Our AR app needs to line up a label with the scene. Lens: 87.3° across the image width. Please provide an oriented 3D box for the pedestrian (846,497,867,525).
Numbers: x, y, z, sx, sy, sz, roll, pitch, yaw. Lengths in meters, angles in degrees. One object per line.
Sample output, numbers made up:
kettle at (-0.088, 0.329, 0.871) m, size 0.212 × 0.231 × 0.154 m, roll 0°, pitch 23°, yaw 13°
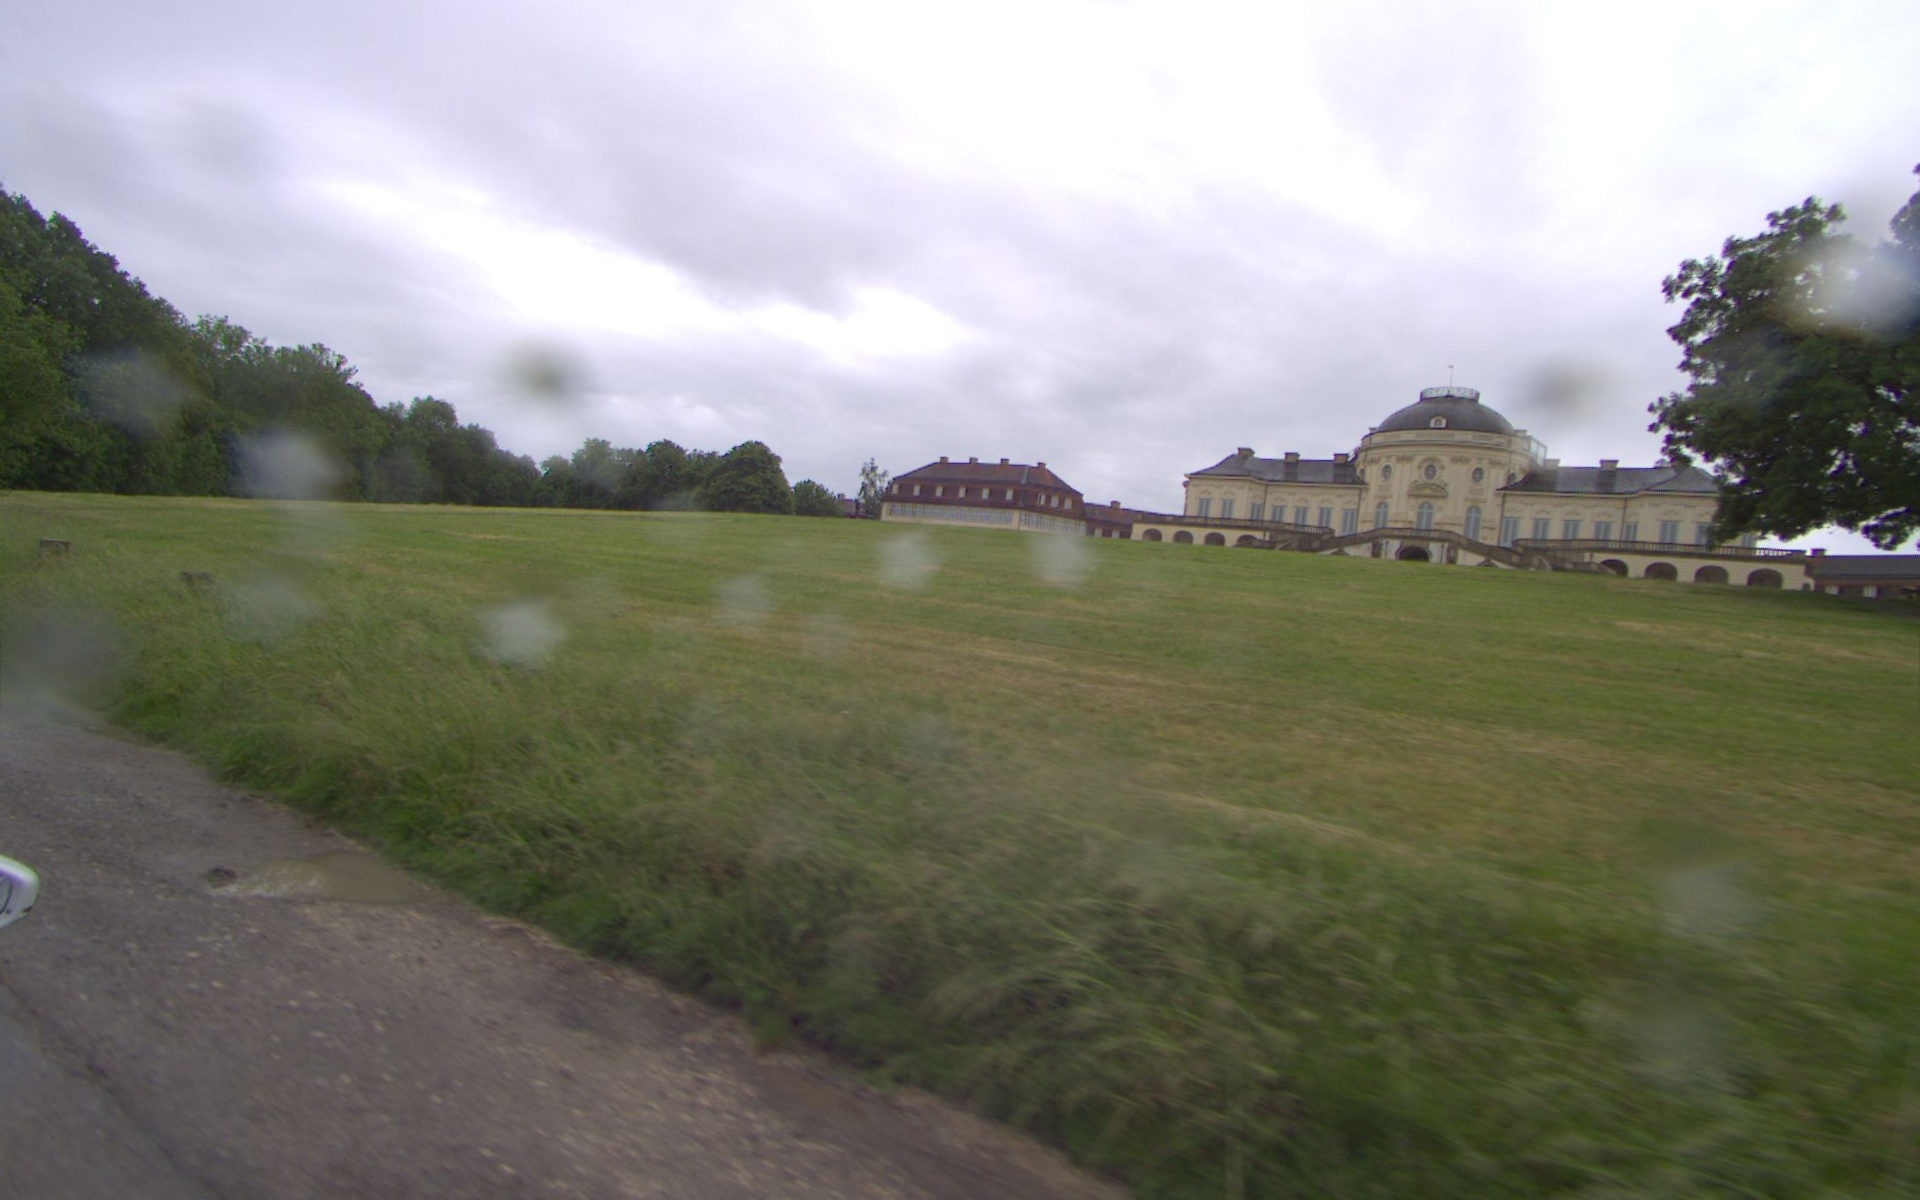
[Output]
pedestrian at (-7.148, -6.161, 69.616) m, size 0.922 × 1.758 × 0.794 m, roll 7°, pitch 1°, yaw -39°
